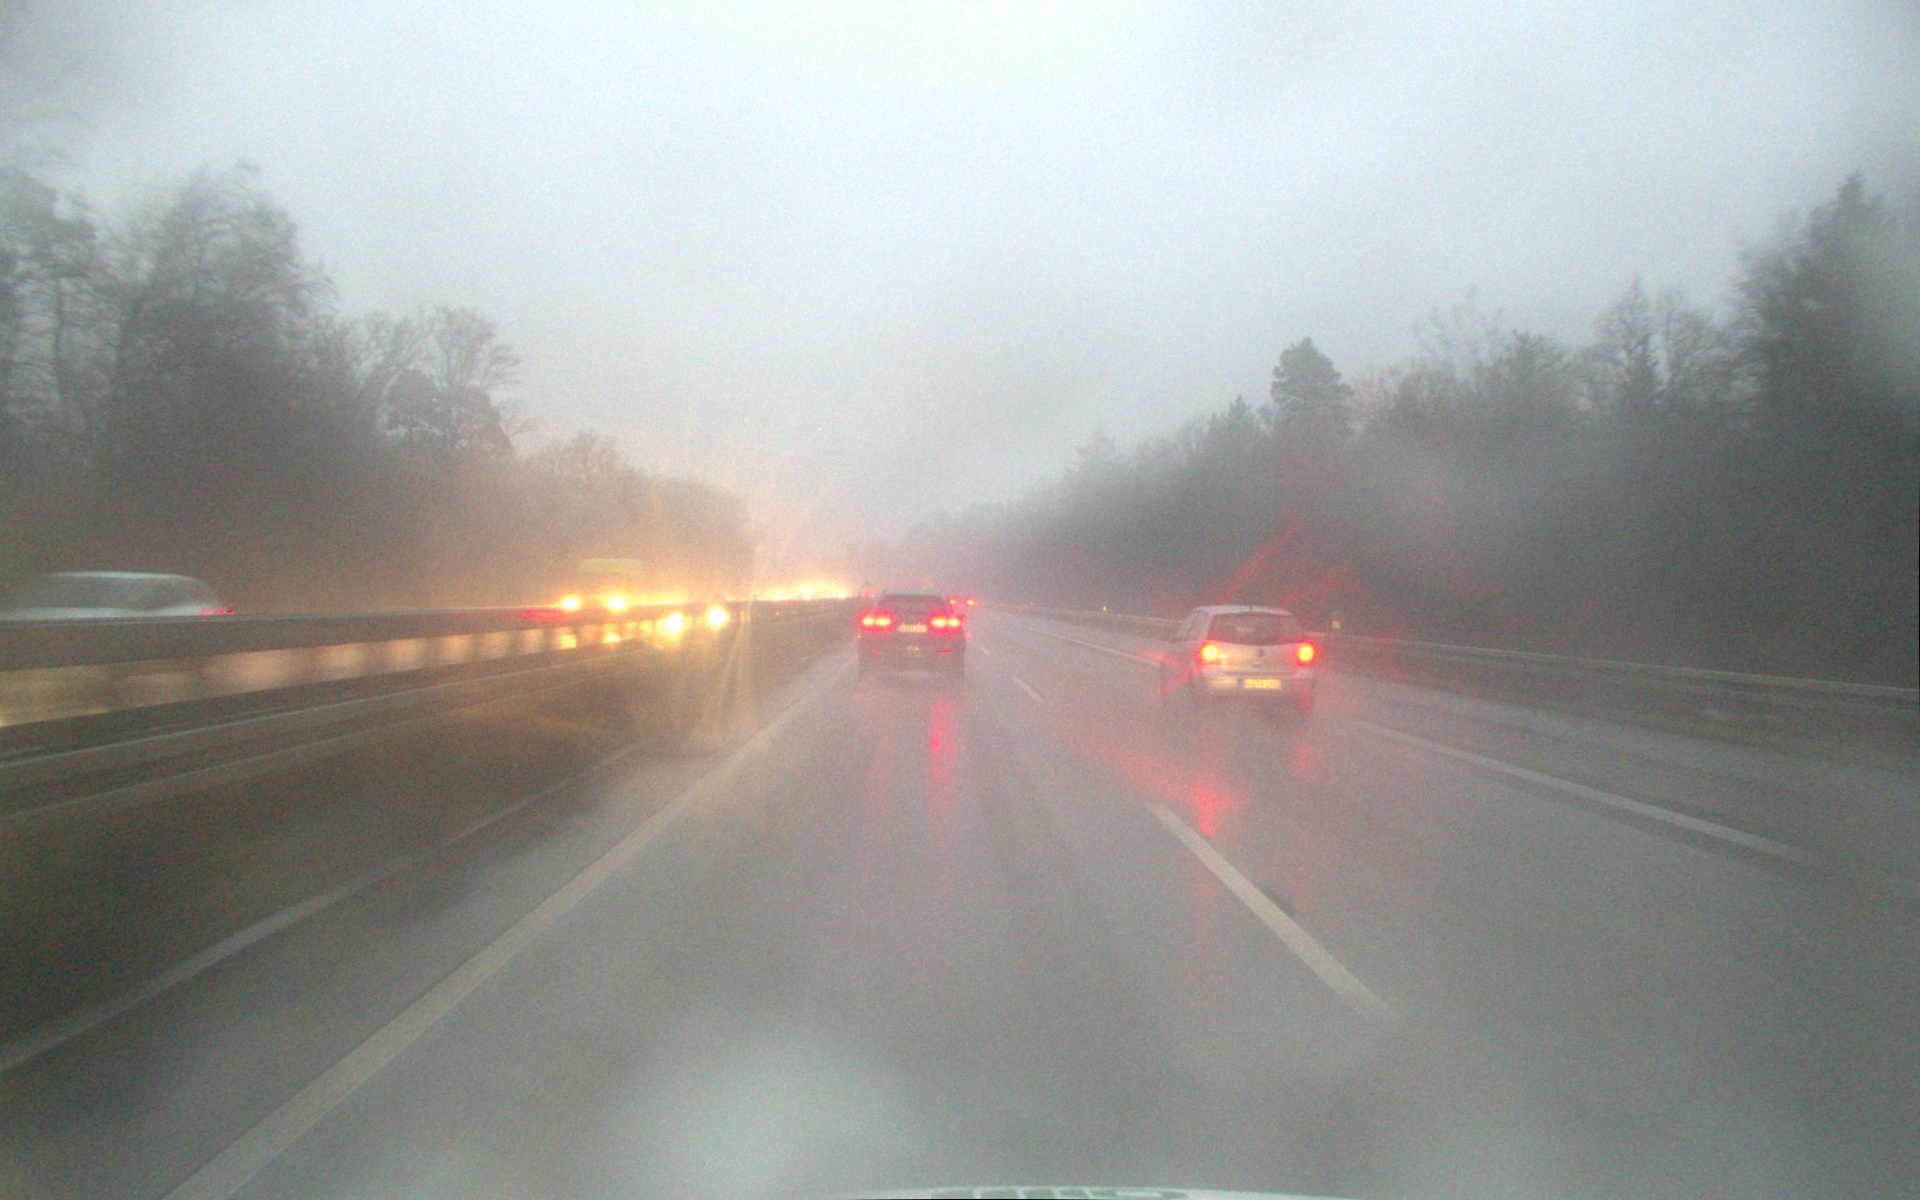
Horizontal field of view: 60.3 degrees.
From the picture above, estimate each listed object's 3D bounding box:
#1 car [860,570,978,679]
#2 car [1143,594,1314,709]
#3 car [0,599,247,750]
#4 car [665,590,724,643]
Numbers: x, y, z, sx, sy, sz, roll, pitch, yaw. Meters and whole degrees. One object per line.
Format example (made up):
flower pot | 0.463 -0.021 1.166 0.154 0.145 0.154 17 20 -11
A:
car | -0.776 0.396 29.673 1.946 1.798 4.171 1 0 -3
car | 3.660 0.661 23.090 1.744 1.462 3.536 1 0 -1
car | -11.651 0.877 22.118 1.838 1.725 5.449 0 0 0
car | -8.837 0.526 55.211 1.437 1.685 3.638 1 0 -2
